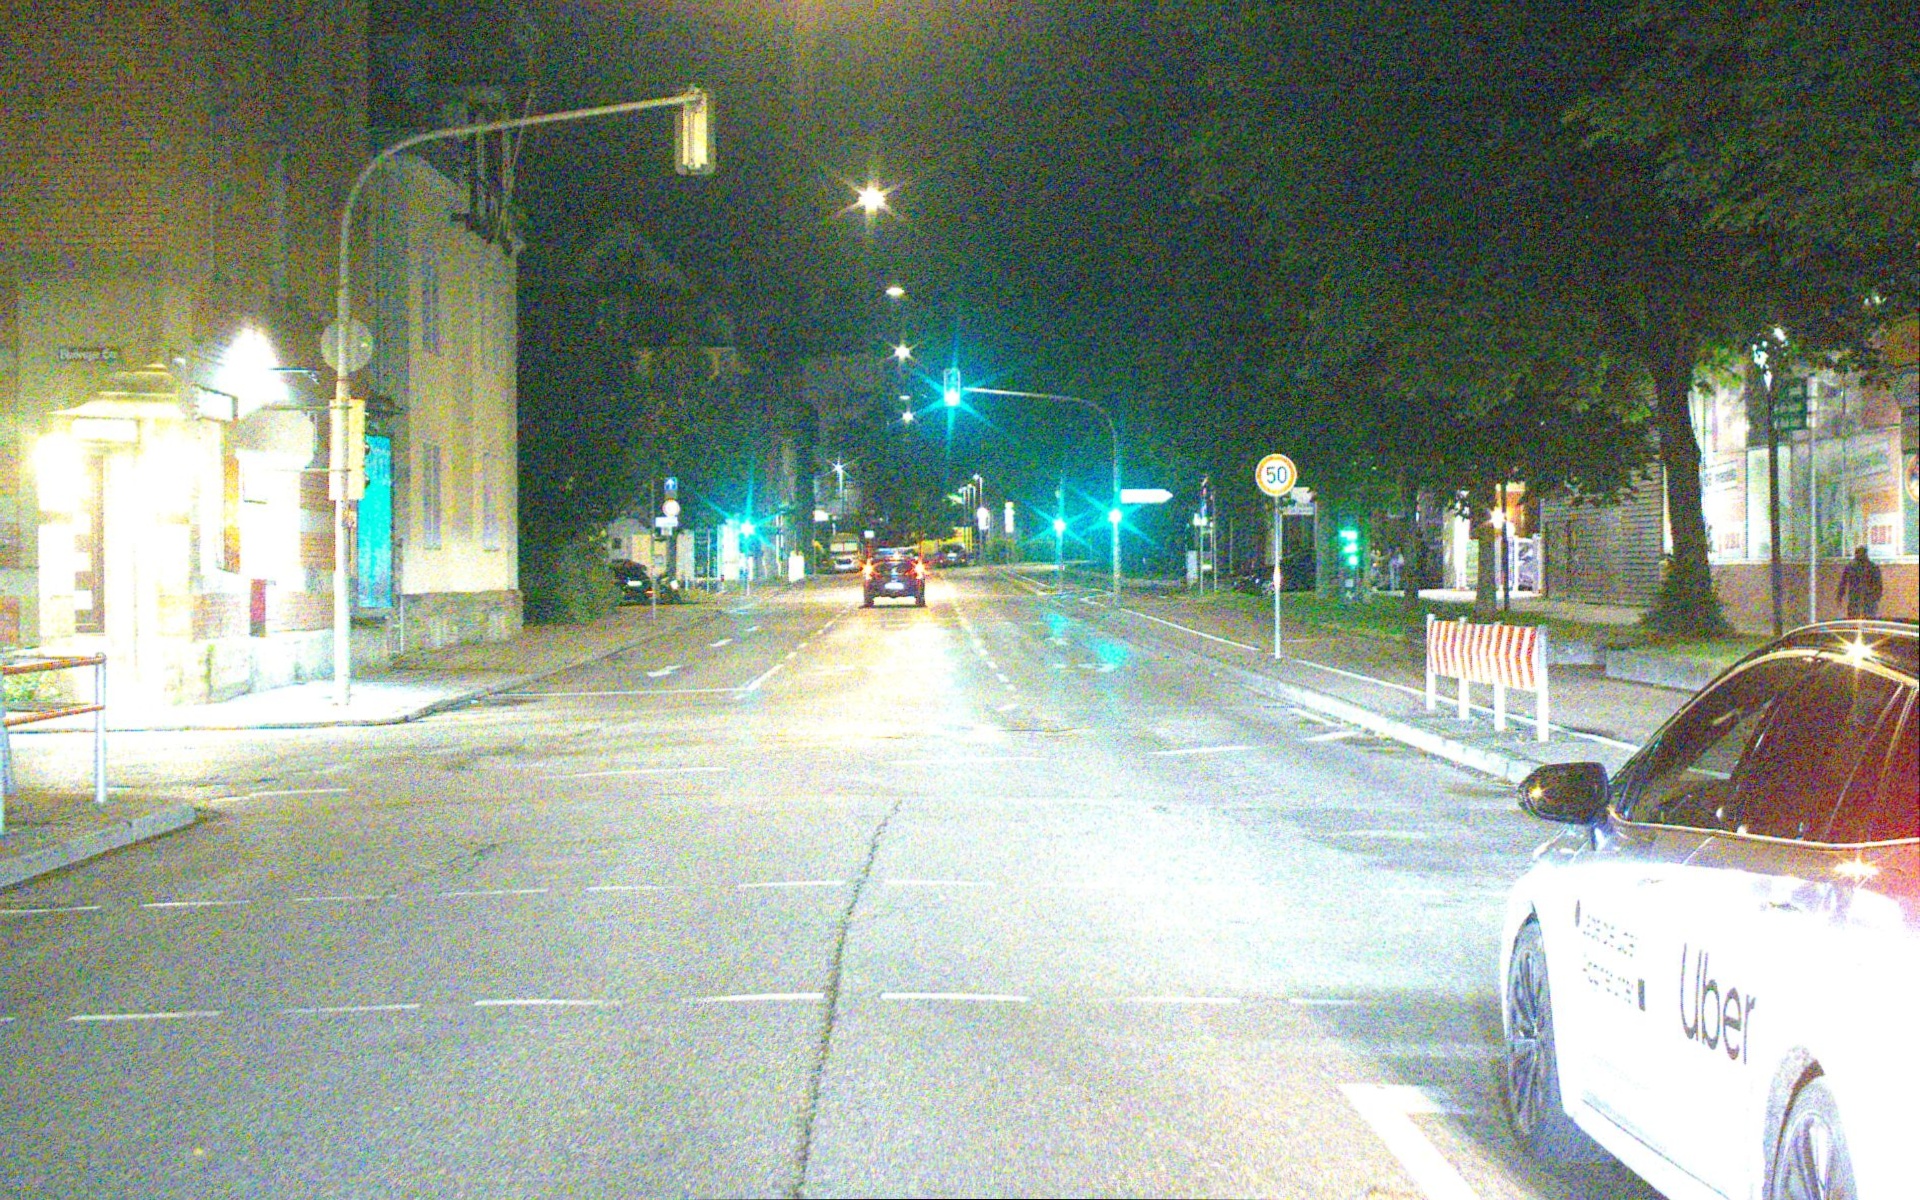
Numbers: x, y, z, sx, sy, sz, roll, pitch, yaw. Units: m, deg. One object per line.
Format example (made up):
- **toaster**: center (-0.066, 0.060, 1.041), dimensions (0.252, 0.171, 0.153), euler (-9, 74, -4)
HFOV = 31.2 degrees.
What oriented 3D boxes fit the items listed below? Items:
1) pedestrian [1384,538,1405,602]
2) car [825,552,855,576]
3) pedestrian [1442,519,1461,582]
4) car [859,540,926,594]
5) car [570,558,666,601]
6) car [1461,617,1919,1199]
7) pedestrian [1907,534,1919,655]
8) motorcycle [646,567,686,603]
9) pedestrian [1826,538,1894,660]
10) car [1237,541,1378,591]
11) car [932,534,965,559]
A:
- **pedestrian**: center (13.760, -0.949, 108.950), dimensions (0.531, 2.007, 0.670), euler (-1, 0, -1)
- **car**: center (-7.430, -2.241, 213.073), dimensions (1.777, 1.385, 4.001), euler (-1, 1, -3)
- **pedestrian**: center (15.705, -1.572, 109.829), dimensions (0.487, 2.007, 0.551), euler (-1, 0, -1)
- **car**: center (-2.134, -1.032, 107.445), dimensions (1.993, 1.634, 4.000), euler (-1, 1, -2)
- **car**: center (-12.214, -0.716, 122.559), dimensions (1.803, 1.481, 4.000), euler (-2, 1, -32)
- **car**: center (2.294, 0.802, 7.128), dimensions (1.729, 1.430, 4.211), euler (1, 1, -2)
- **pedestrian**: center (14.408, -0.088, 50.408), dimensions (0.738, 1.763, 0.907), euler (-1, 1, -1)
- **motorcycle**: center (-10.237, -0.531, 119.744), dimensions (0.781, 1.200, 2.450), euler (-1, 1, -19)
- **pedestrian**: center (13.215, -0.021, 50.478), dimensions (0.714, 1.763, 0.907), euler (-1, 1, -1)
- **car**: center (10.190, -1.003, 100.931), dimensions (3.987, 1.382, 1.771), euler (-1, 1, 2)
- **car**: center (-0.781, -3.525, 228.159), dimensions (1.993, 1.590, 4.001), euler (-1, 1, -3)
